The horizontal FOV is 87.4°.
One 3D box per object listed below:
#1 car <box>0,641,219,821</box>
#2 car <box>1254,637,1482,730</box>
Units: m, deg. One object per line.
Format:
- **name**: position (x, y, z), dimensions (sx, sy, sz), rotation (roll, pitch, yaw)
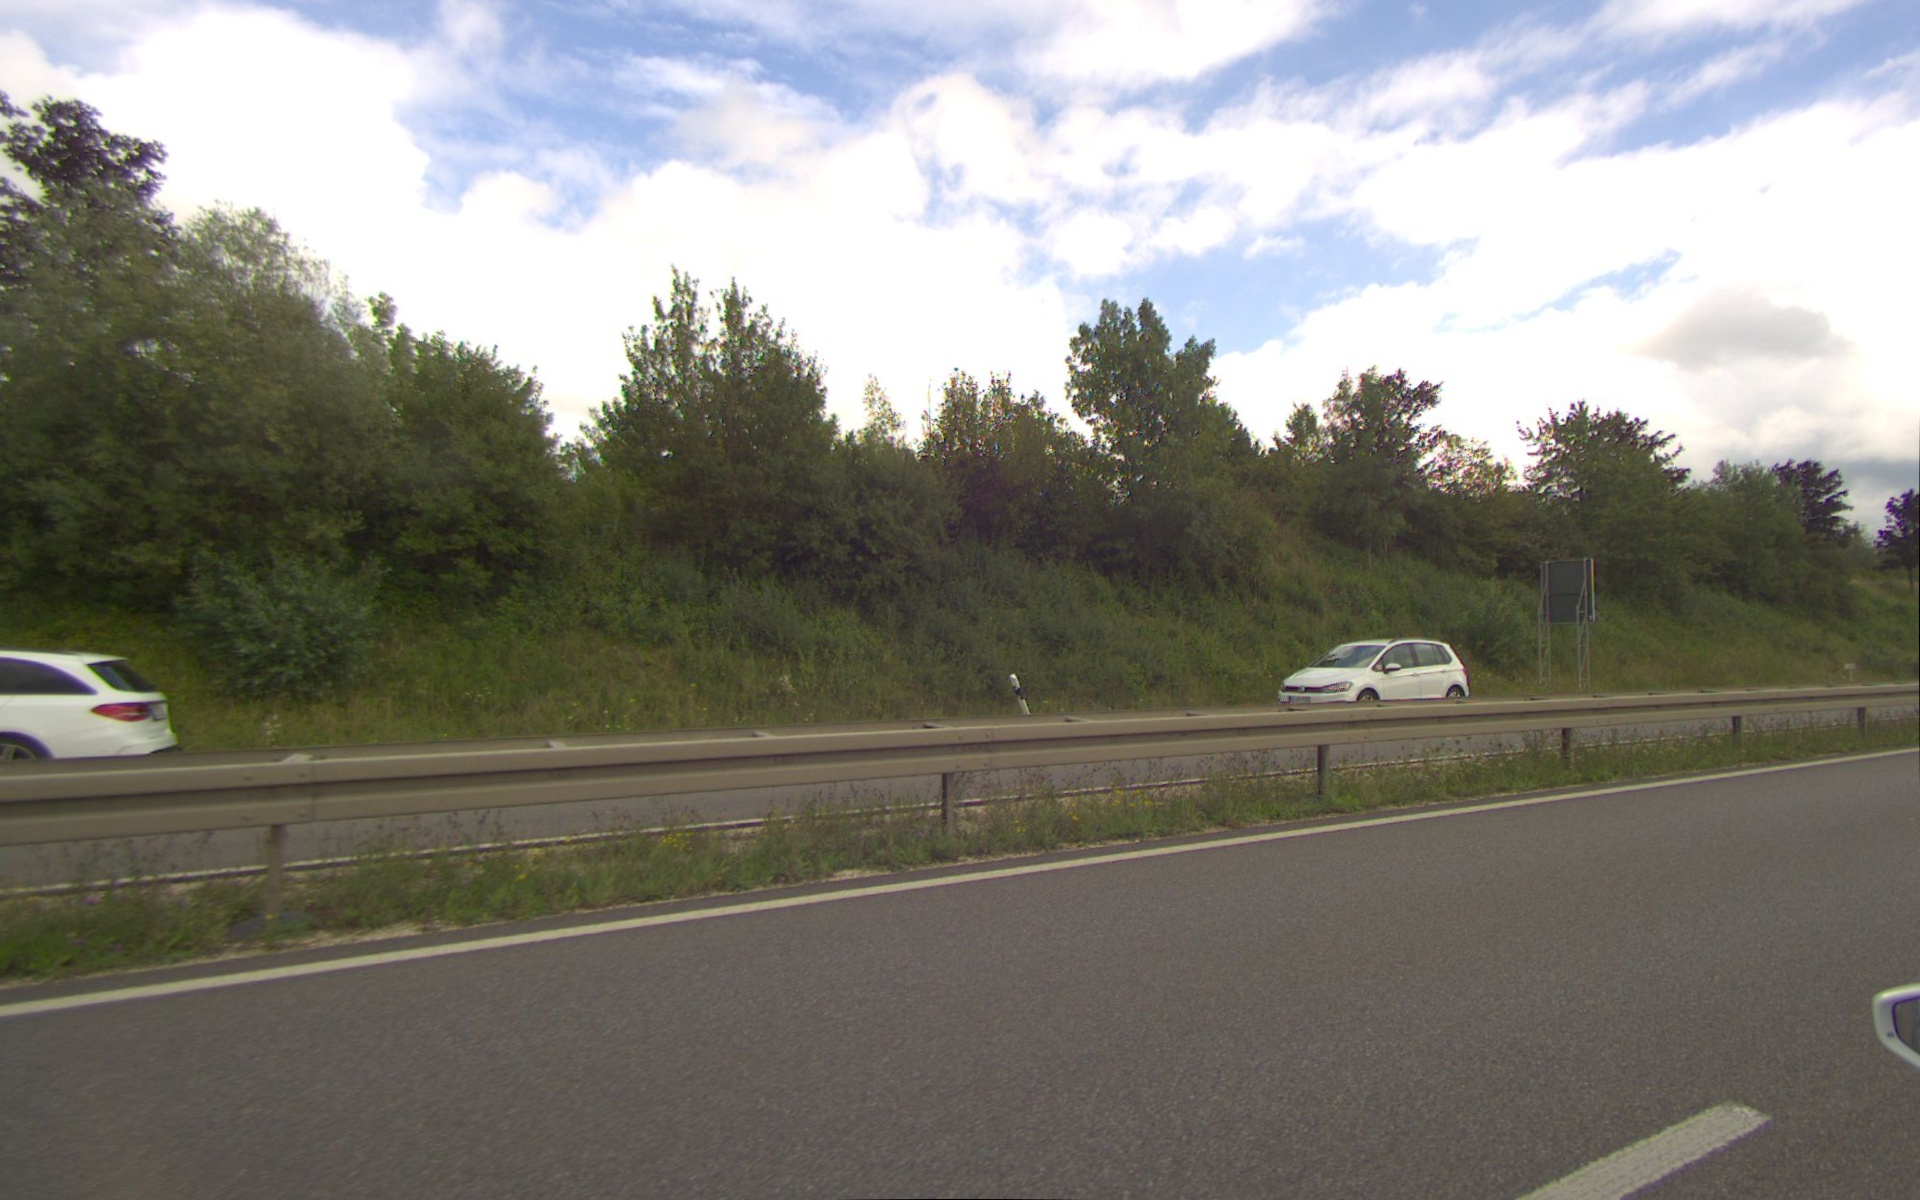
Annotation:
- **car**: position (-9.982, 1.222, 9.179), dimensions (4.929, 1.538, 1.984), rotation (-1, -1, -30)
- **car**: position (8.119, 1.563, 19.897), dimensions (4.412, 1.538, 1.911), rotation (0, -1, -31)
